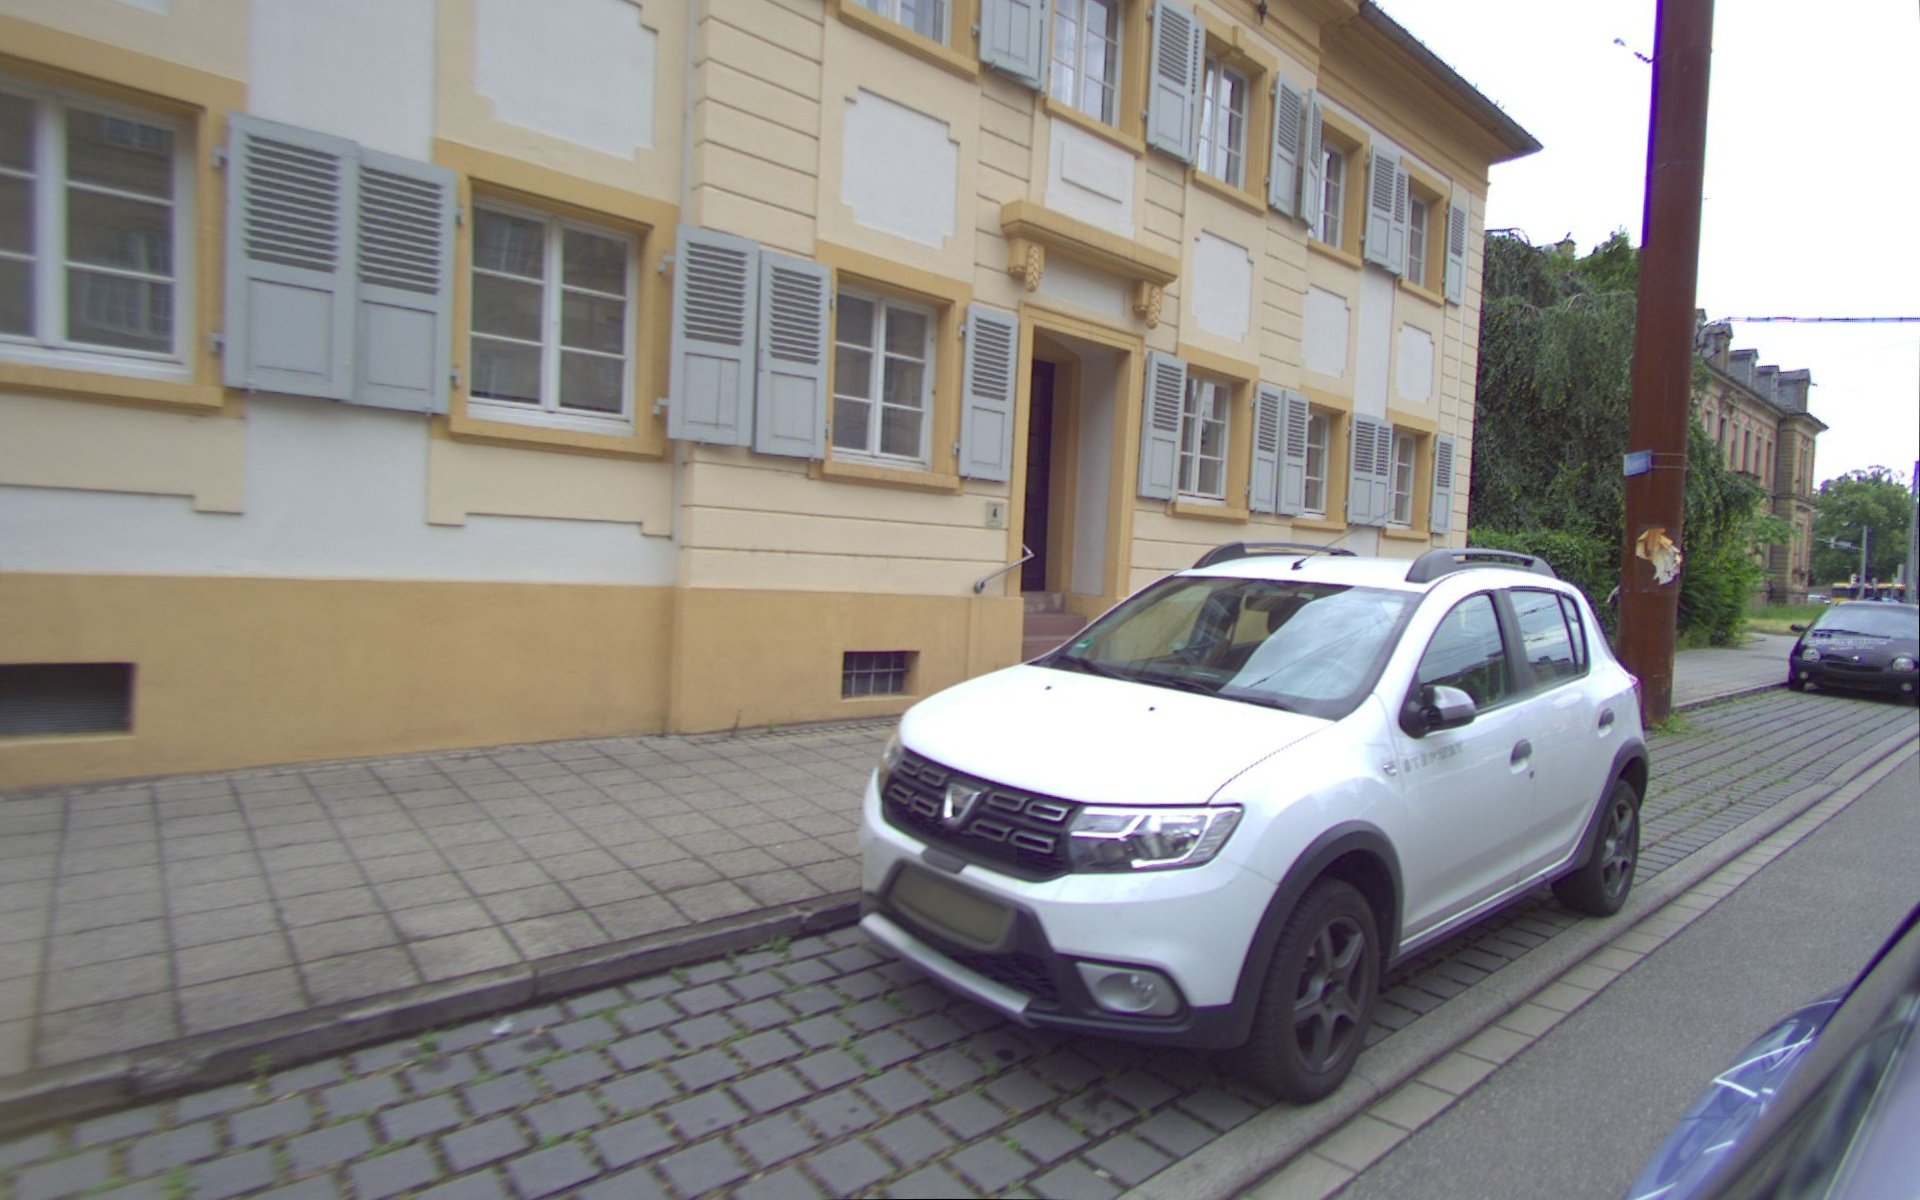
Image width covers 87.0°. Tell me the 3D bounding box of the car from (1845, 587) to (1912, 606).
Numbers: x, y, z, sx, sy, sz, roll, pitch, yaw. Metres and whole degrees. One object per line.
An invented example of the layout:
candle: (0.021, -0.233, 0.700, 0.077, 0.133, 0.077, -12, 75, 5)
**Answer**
car: (81.423, -0.337, 89.756, 1.961, 1.512, 4.061, 5, 0, -3)

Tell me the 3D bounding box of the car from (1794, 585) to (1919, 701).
car: (14.066, 0.593, 15.236, 3.862, 1.450, 1.641, 0, 5, -41)

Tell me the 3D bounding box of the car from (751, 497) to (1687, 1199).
car: (1.323, 0.524, 4.141, 3.862, 1.593, 1.759, 0, 5, -41)

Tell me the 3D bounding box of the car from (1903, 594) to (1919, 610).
car: (81.326, 0.230, 84.214, 1.657, 1.262, 3.745, 1, 2, -27)

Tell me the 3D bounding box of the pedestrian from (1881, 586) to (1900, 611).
pedestrian: (76.288, -0.120, 82.968, 0.773, 1.967, 0.973, 3, 2, 26)
